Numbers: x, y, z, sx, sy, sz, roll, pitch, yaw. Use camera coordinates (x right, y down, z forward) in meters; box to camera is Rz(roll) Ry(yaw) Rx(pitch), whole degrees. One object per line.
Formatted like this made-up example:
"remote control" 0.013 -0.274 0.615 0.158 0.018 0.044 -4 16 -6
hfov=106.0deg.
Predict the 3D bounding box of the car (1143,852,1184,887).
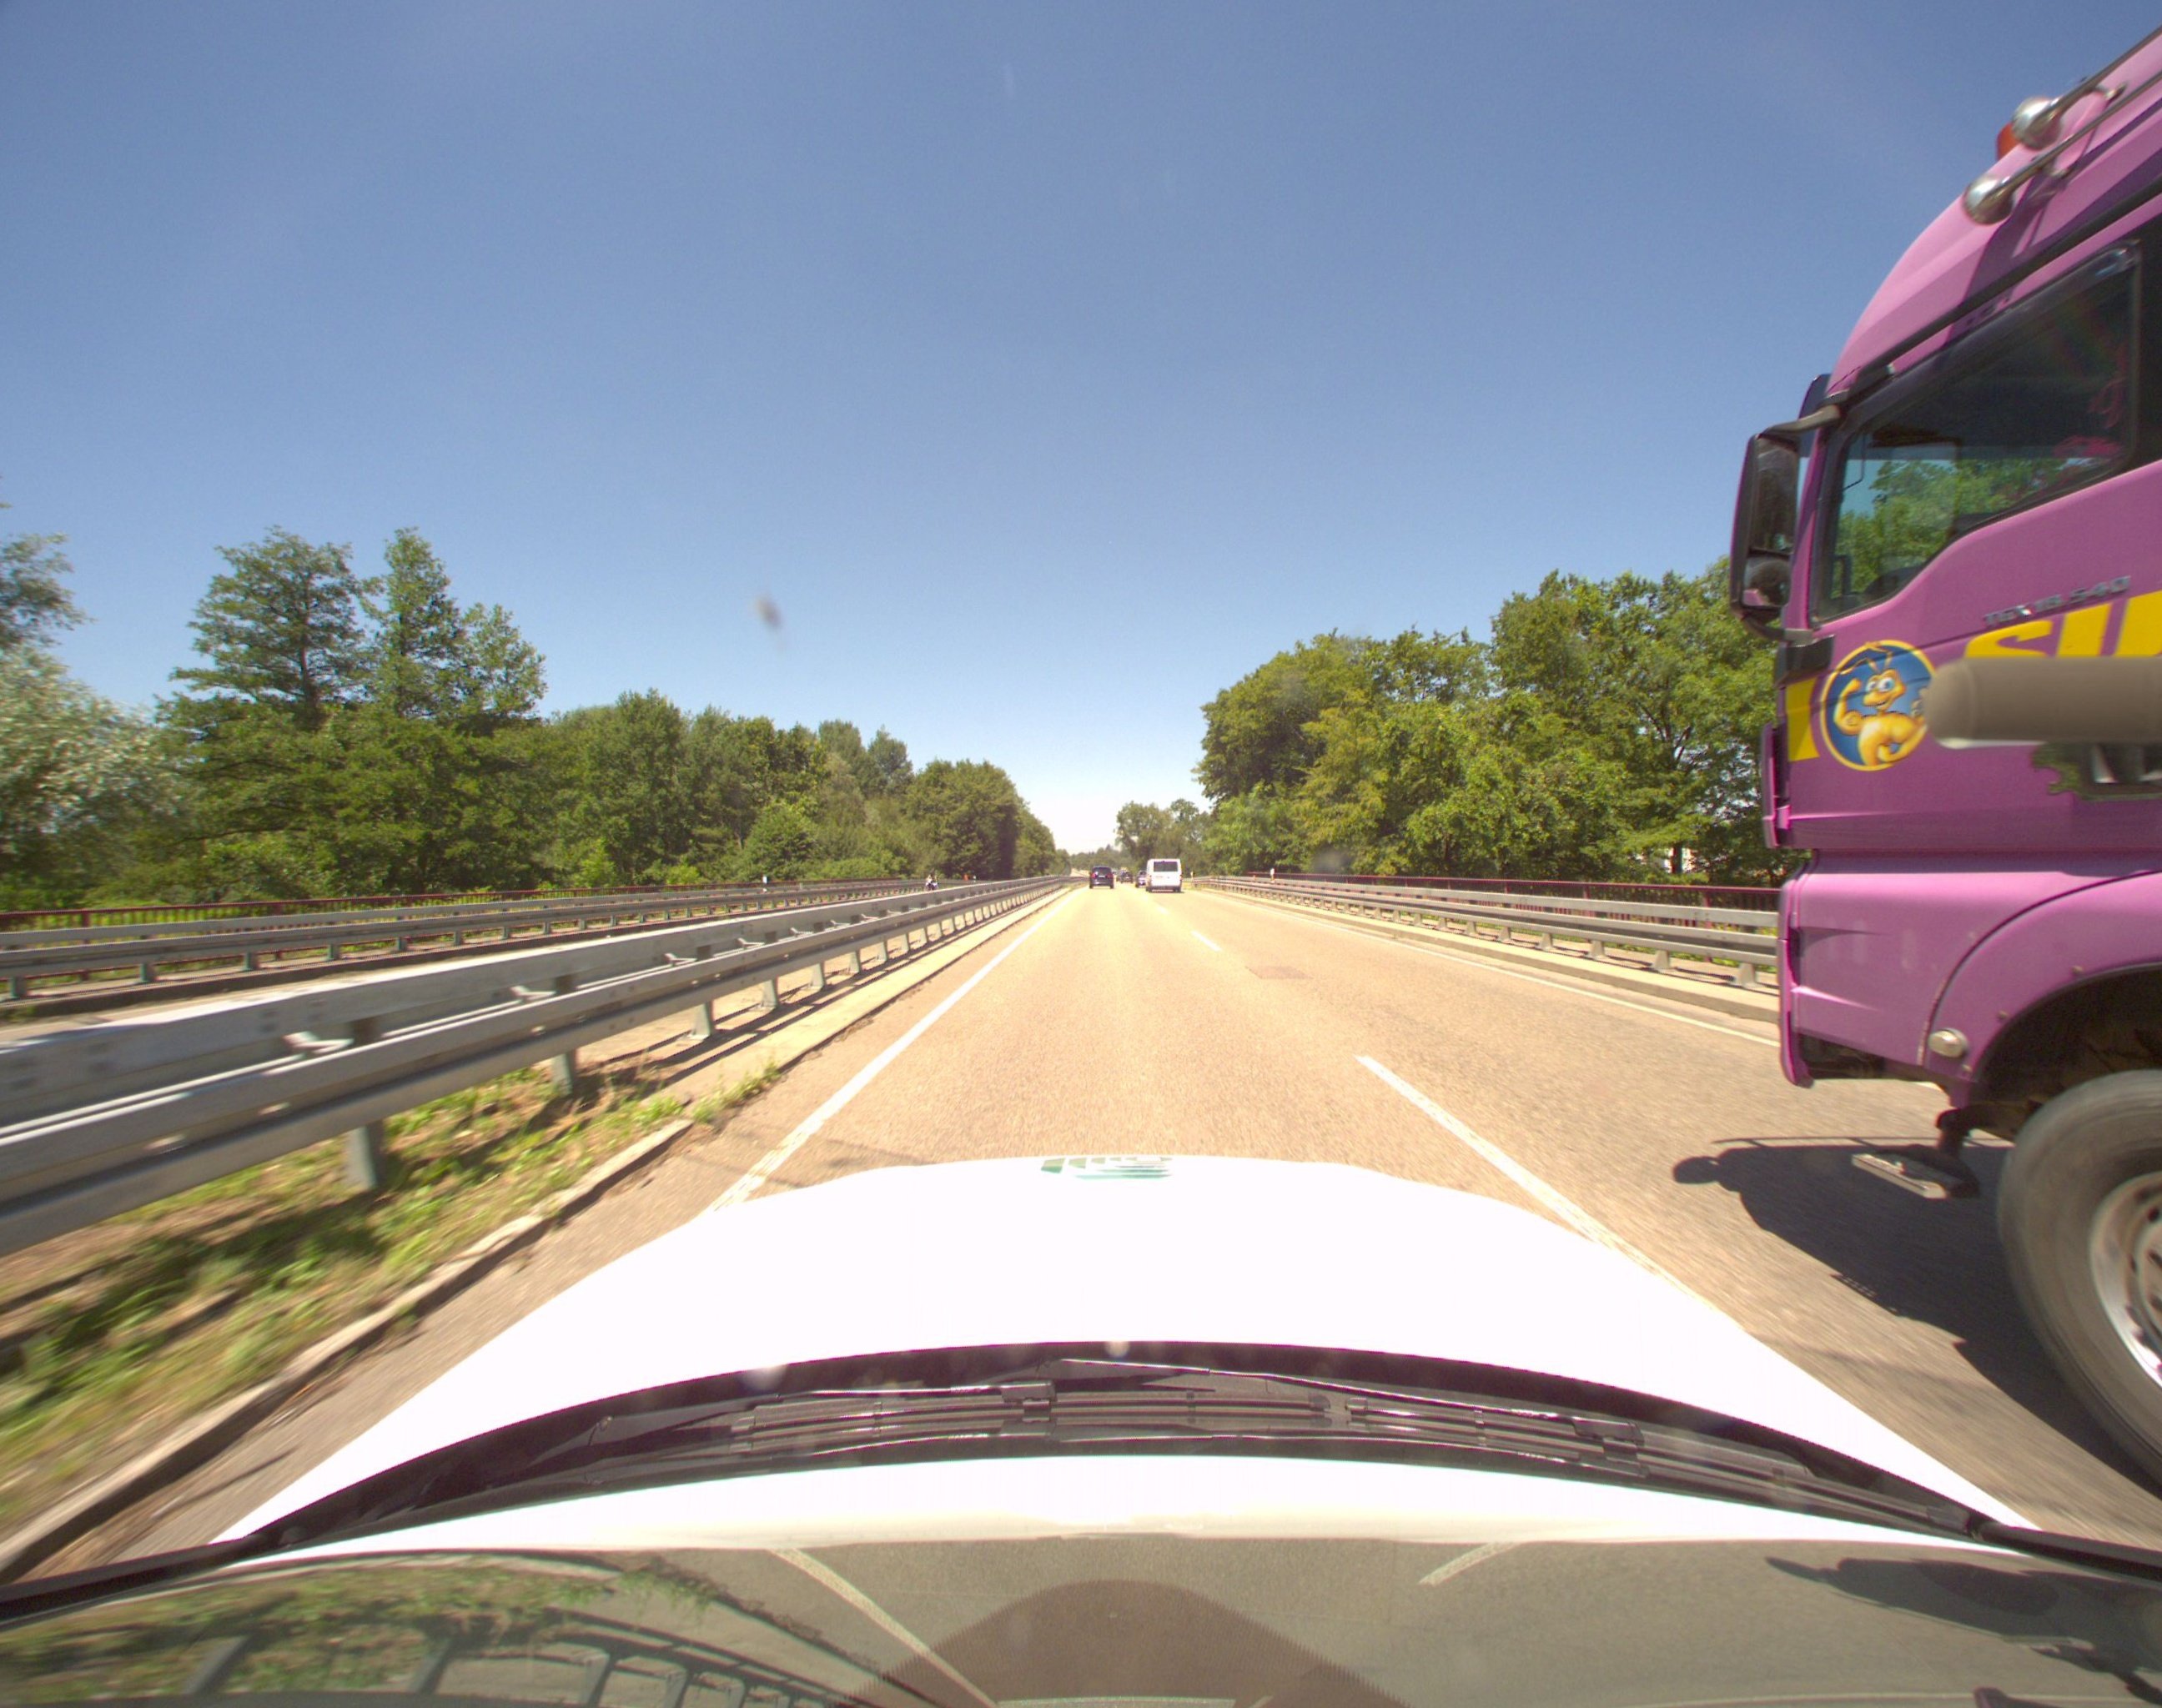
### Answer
"car" 5.016 1.016 50.032 1.999 1.989 5.033 0 -3 0

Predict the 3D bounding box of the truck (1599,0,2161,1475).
"truck" 3.794 -0.414 1.025 2.589 3.692 5.939 0 -1 1

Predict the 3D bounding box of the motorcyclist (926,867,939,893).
"motorcyclist" -8.738 1.522 48.013 0.612 1.540 0.777 -1 -2 2

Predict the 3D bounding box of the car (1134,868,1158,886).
"car" 5.595 1.995 70.851 1.779 1.553 4.018 -1 -1 0

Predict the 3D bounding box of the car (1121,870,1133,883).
"car" 6.958 3.371 123.515 1.773 1.817 4.213 -2 -2 1

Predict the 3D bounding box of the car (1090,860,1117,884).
"car" 1.747 1.440 63.987 1.987 1.655 3.998 -1 -3 0

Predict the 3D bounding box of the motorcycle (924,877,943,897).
"motorcycle" -8.727 1.948 48.298 0.612 1.104 2.314 -1 -1 2

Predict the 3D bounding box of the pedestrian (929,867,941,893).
"pedestrian" -8.715 1.538 48.658 0.612 1.540 0.494 -1 -2 2

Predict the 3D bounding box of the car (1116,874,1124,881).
"car" 9.104 5.492 189.744 1.813 1.414 4.000 -2 -1 1
